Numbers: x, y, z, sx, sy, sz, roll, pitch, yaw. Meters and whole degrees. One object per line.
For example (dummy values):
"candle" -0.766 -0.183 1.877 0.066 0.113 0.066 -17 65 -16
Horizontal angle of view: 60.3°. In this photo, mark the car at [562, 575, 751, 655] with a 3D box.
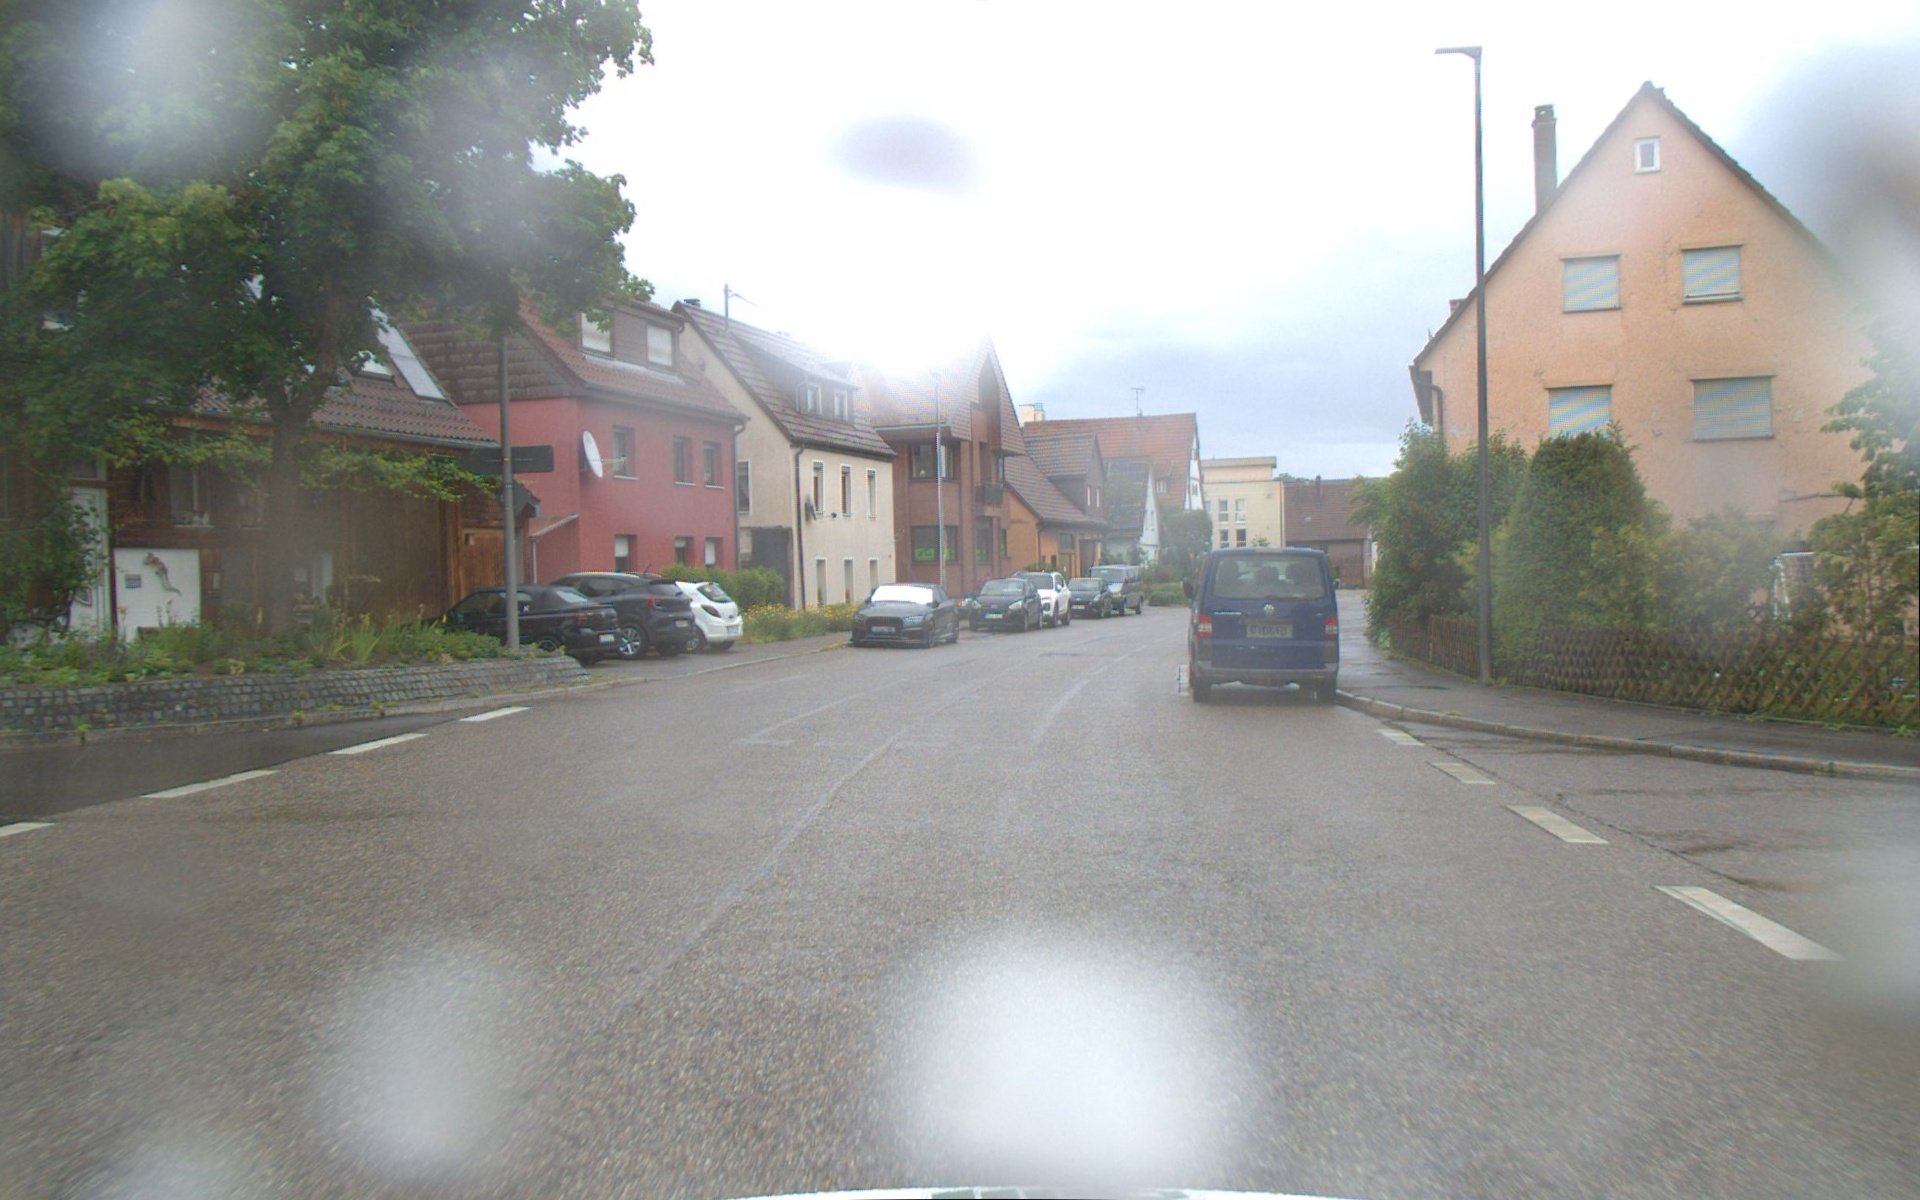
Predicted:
"car" -6.157 0.296 33.642 3.388 1.505 1.592 -2 0 16

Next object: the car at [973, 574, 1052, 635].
"car" 1.549 0.110 47.614 1.571 1.646 3.279 -2 0 14

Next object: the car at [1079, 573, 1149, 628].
"car" 6.223 -0.006 66.355 1.783 2.049 5.218 -2 0 16

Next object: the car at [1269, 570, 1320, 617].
"car" 12.990 -0.270 64.175 1.712 1.739 4.003 0 1 15

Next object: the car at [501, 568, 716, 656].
"car" -6.622 0.198 31.238 3.500 1.532 1.856 1 1 18

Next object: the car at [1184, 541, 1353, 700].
"car" 4.102 0.228 22.668 1.890 1.935 4.797 0 0 6

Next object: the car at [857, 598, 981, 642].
"car" -1.477 0.726 59.619 4.086 1.427 1.789 -2 0 21

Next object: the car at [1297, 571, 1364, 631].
"car" 10.826 0.005 48.569 1.764 1.623 4.616 2 1 11

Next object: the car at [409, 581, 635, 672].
"car" -7.521 0.453 28.479 3.373 1.443 1.634 -2 0 16

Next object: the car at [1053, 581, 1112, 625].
"car" 4.580 0.097 61.538 1.545 1.523 3.570 -2 0 14

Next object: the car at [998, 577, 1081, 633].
"car" 2.556 0.119 52.333 1.727 1.647 4.660 -2 0 14

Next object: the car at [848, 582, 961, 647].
"car" -1.203 0.289 37.712 1.592 1.379 4.114 1 1 12
